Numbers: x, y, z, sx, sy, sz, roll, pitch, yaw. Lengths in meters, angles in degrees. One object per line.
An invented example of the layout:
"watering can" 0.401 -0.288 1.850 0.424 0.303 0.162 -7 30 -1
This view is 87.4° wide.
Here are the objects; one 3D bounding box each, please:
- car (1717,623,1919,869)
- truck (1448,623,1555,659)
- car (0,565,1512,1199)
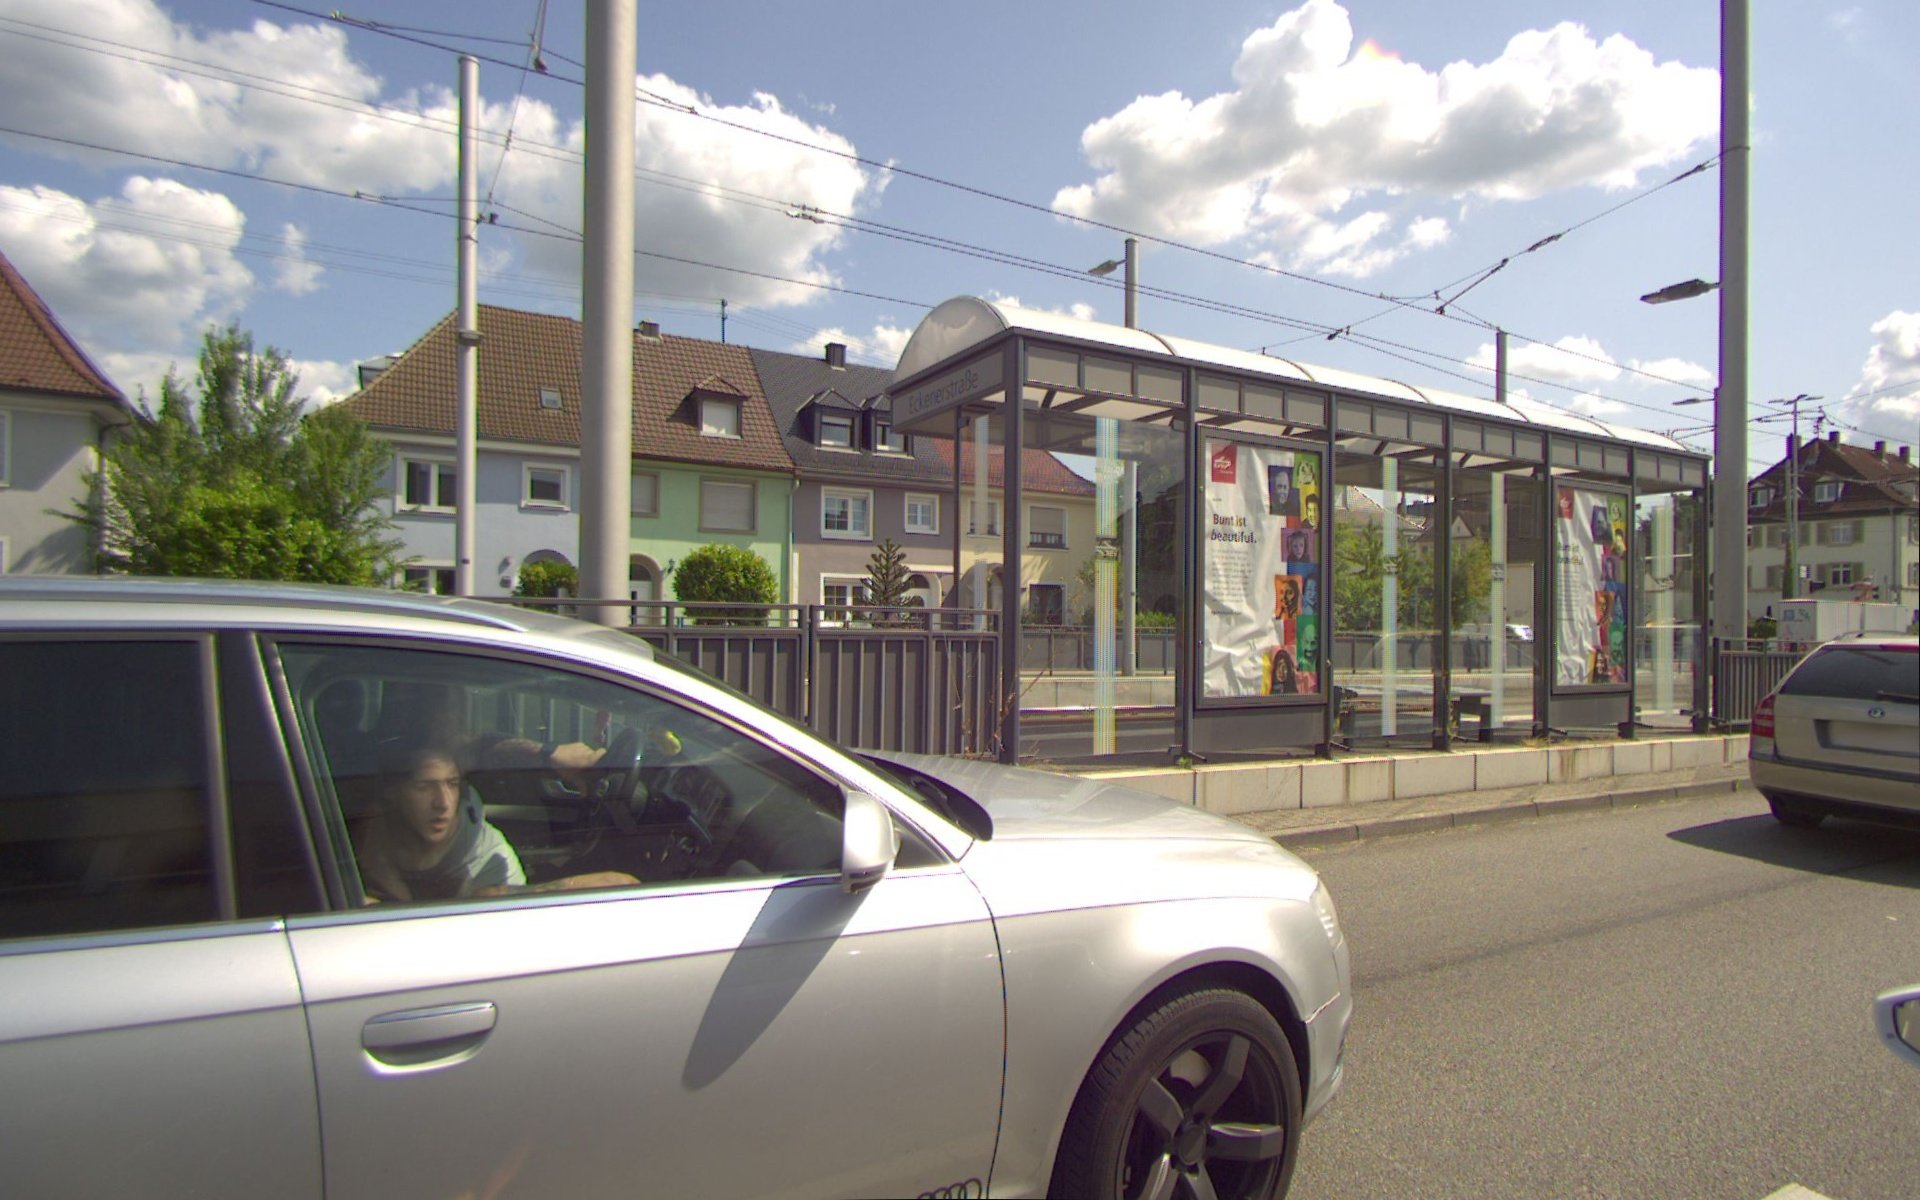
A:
"car" 7.531 0.974 7.317 4.074 1.468 1.723 2 0 -29
"truck" 34.214 2.566 63.732 1.667 1.947 6.166 2 0 -25
"car" -1.057 0.715 2.156 4.667 1.491 1.786 2 0 -31
